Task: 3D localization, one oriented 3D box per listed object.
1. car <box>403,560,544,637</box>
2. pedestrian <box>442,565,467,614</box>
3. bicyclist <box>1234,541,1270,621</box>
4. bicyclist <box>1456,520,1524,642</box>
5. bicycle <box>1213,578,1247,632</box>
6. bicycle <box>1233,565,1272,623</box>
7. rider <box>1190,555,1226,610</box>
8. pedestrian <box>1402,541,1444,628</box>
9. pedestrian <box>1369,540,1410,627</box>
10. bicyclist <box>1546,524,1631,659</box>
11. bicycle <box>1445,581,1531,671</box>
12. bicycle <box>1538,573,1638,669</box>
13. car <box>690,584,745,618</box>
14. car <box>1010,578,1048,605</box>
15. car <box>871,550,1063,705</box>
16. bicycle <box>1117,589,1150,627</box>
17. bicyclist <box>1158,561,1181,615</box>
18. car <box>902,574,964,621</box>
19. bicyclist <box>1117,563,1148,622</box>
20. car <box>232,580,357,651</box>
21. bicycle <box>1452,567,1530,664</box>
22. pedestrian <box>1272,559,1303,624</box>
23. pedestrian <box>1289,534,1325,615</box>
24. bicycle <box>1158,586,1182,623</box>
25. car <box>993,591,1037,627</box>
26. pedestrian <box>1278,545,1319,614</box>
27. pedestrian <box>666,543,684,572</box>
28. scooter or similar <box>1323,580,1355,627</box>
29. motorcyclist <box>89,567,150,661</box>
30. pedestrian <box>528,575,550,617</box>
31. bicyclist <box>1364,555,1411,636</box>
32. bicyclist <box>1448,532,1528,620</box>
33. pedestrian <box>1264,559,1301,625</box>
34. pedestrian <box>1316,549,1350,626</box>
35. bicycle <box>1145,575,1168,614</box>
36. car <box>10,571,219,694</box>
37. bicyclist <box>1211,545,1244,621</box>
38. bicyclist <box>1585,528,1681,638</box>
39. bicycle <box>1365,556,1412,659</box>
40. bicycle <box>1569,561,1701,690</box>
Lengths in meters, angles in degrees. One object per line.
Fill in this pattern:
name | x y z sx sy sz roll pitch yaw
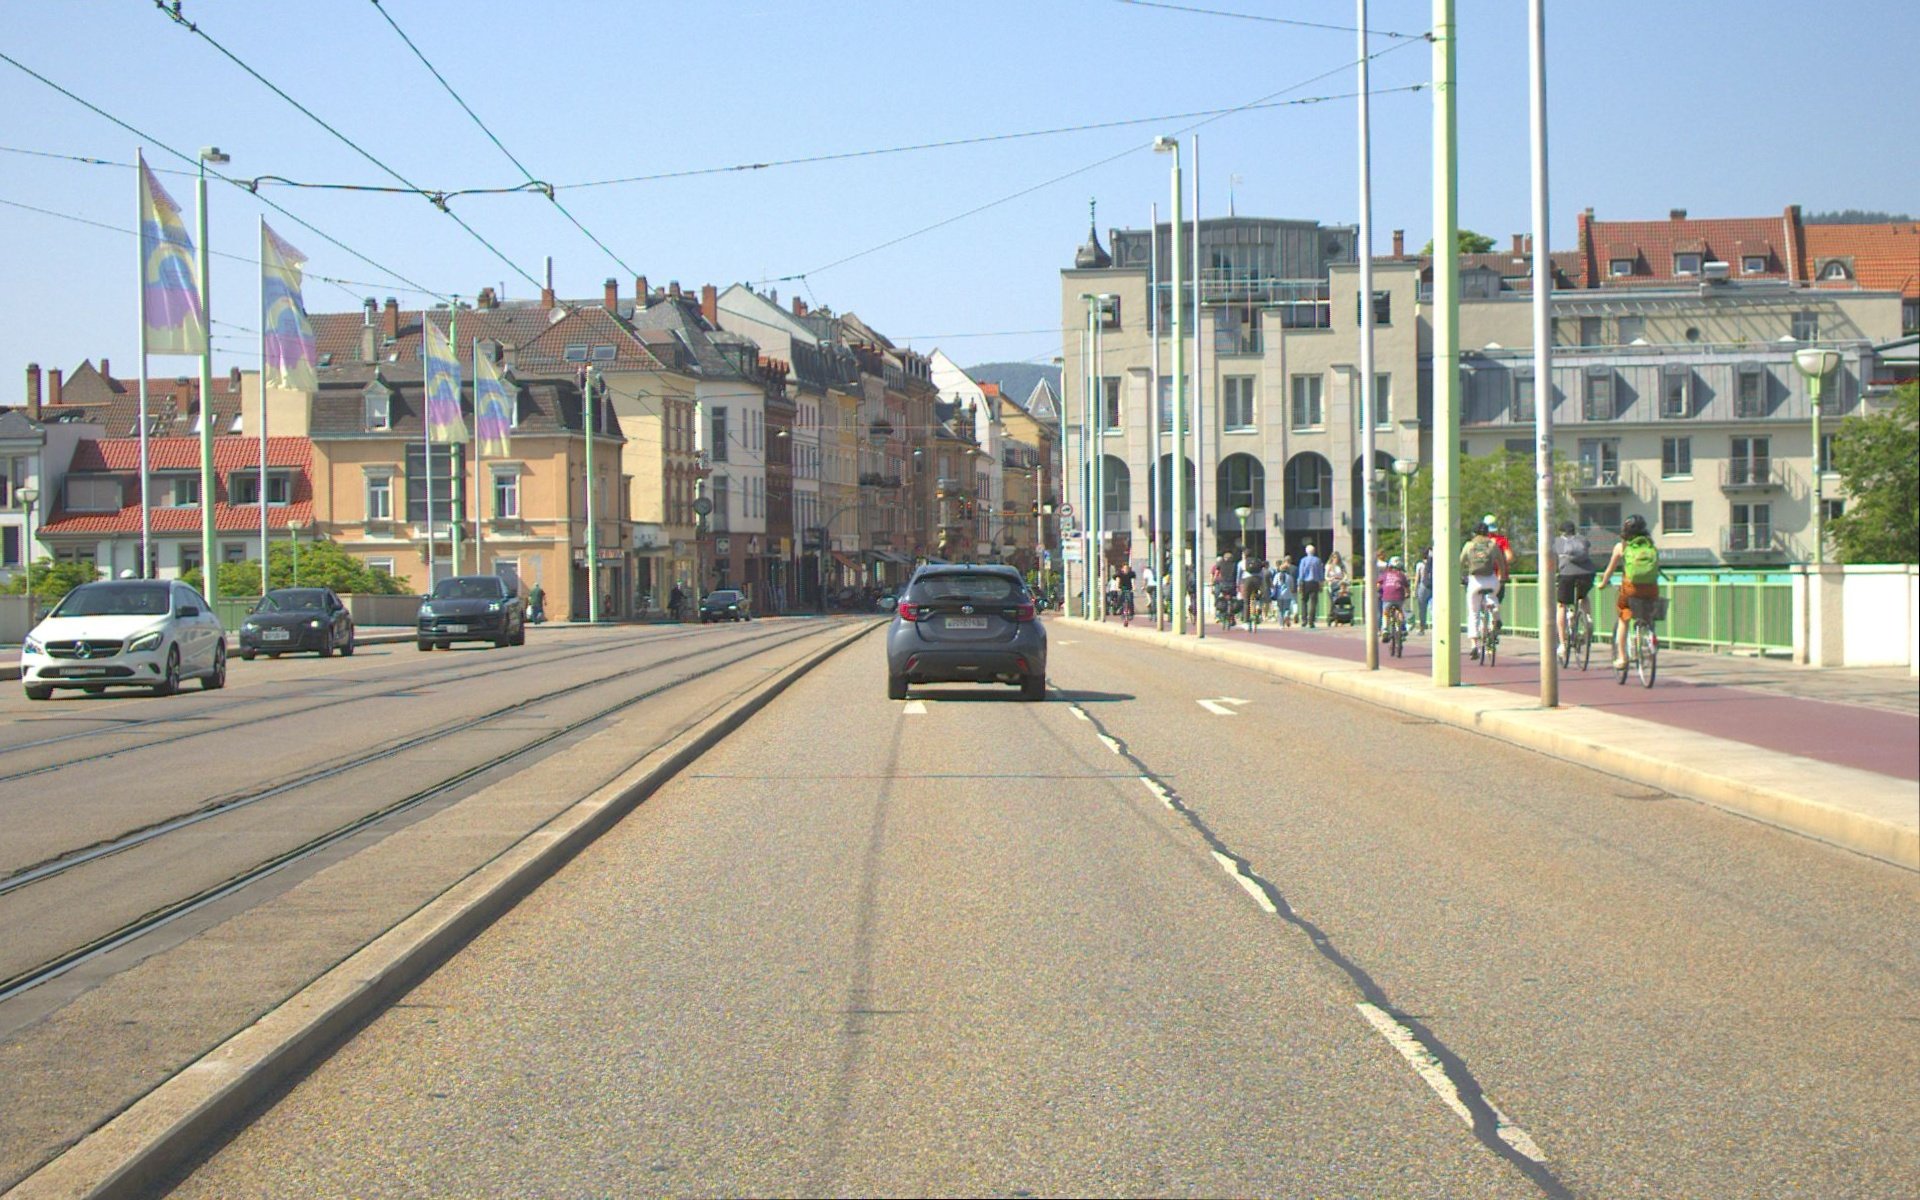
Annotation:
car | -10.561 -0.047 74.935 1.994 1.594 4.337 0 1 7
pedestrian | -18.526 -0.397 125.972 0.763 1.780 0.663 -1 1 2
bicyclist | 6.127 -0.400 72.159 0.656 1.670 0.869 -1 1 -1
bicyclist | 7.165 -0.262 46.507 0.735 1.630 0.867 -1 1 -2
bicycle | 6.073 0.103 77.368 0.526 1.174 2.029 -1 1 -2
bicycle | 6.133 -0.135 72.205 0.593 1.174 1.940 -1 1 -2
rider | 6.775 -0.487 94.124 0.889 1.499 0.841 -1 1 -2
pedestrian | 8.498 -0.289 63.105 0.599 1.580 0.867 -1 1 -2
pedestrian | 7.884 -0.303 63.092 0.599 1.580 0.867 -1 1 -2
bicyclist | 7.103 -0.101 38.866 0.735 1.495 0.980 -1 1 -2
bicycle | 6.285 0.296 40.998 0.618 1.034 2.051 -1 1 -2
bicycle | 7.081 0.216 38.852 0.618 1.034 2.267 -1 1 -2
car | -11.032 0.021 156.630 1.994 1.474 4.000 -1 1 4
car | 3.813 -0.480 189.272 1.878 1.404 3.999 -1 1 5
car | 0.022 0.263 38.519 1.910 1.535 4.001 -2 2 -3
bicycle | 4.634 0.201 91.862 0.653 0.978 2.178 -2 0 -3
bicyclist | 6.078 -0.351 99.701 0.651 1.524 0.975 -1 1 3
car | -0.917 -0.090 113.860 1.803 1.464 4.001 -2 1 -3
bicyclist | 4.610 -0.196 91.924 0.653 1.561 1.338 -2 0 -3
car | -13.513 0.293 70.049 1.758 1.358 4.384 -1 1 -1
bicycle | 7.163 0.192 46.438 0.618 1.266 2.216 -1 1 -2
pedestrian | 7.452 -0.205 78.247 0.613 1.460 0.848 -1 1 -1
pedestrian | 7.817 -0.583 77.523 0.712 1.804 0.848 -1 1 0
bicycle | 6.089 0.131 99.836 0.666 1.046 2.029 -1 1 3
car | 2.407 0.388 150.199 1.804 1.464 4.000 -2 1 2
pedestrian | 8.720 -0.522 88.541 0.929 1.755 0.938 -1 1 0
pedestrian | -14.025 -2.102 169.176 0.763 1.393 0.663 -1 1 2
scooter or similar | 8.617 0.077 78.191 0.588 1.065 0.865 -1 1 -2
motorcyclist | -14.194 0.227 58.088 0.827 1.568 0.832 -1 1 -1
pedestrian | -16.970 -0.171 138.495 0.763 1.659 0.663 -1 1 2
bicyclist | 5.852 -0.066 47.051 0.599 1.098 0.852 0 1 9
bicyclist | 6.290 -0.285 41.000 0.735 1.027 1.175 -1 1 -2
pedestrian | 8.319 -0.217 88.738 0.834 1.683 0.869 -1 1 0
pedestrian | 8.587 -0.293 79.068 0.641 1.751 0.867 -1 1 -2
bicycle | 6.012 -0.172 105.080 0.666 1.174 2.029 -1 1 3
car | -10.467 0.359 42.848 1.993 1.404 4.548 -1 1 -7
bicyclist | 5.994 -0.381 77.153 0.627 1.683 0.869 -1 1 -2
bicyclist | 6.502 -0.169 33.253 0.666 1.041 0.980 -1 1 -4
bicycle | 5.863 0.090 46.969 0.534 1.362 2.215 0 1 9
bicycle | 6.496 0.234 33.188 0.695 1.189 2.079 -1 0 -5
